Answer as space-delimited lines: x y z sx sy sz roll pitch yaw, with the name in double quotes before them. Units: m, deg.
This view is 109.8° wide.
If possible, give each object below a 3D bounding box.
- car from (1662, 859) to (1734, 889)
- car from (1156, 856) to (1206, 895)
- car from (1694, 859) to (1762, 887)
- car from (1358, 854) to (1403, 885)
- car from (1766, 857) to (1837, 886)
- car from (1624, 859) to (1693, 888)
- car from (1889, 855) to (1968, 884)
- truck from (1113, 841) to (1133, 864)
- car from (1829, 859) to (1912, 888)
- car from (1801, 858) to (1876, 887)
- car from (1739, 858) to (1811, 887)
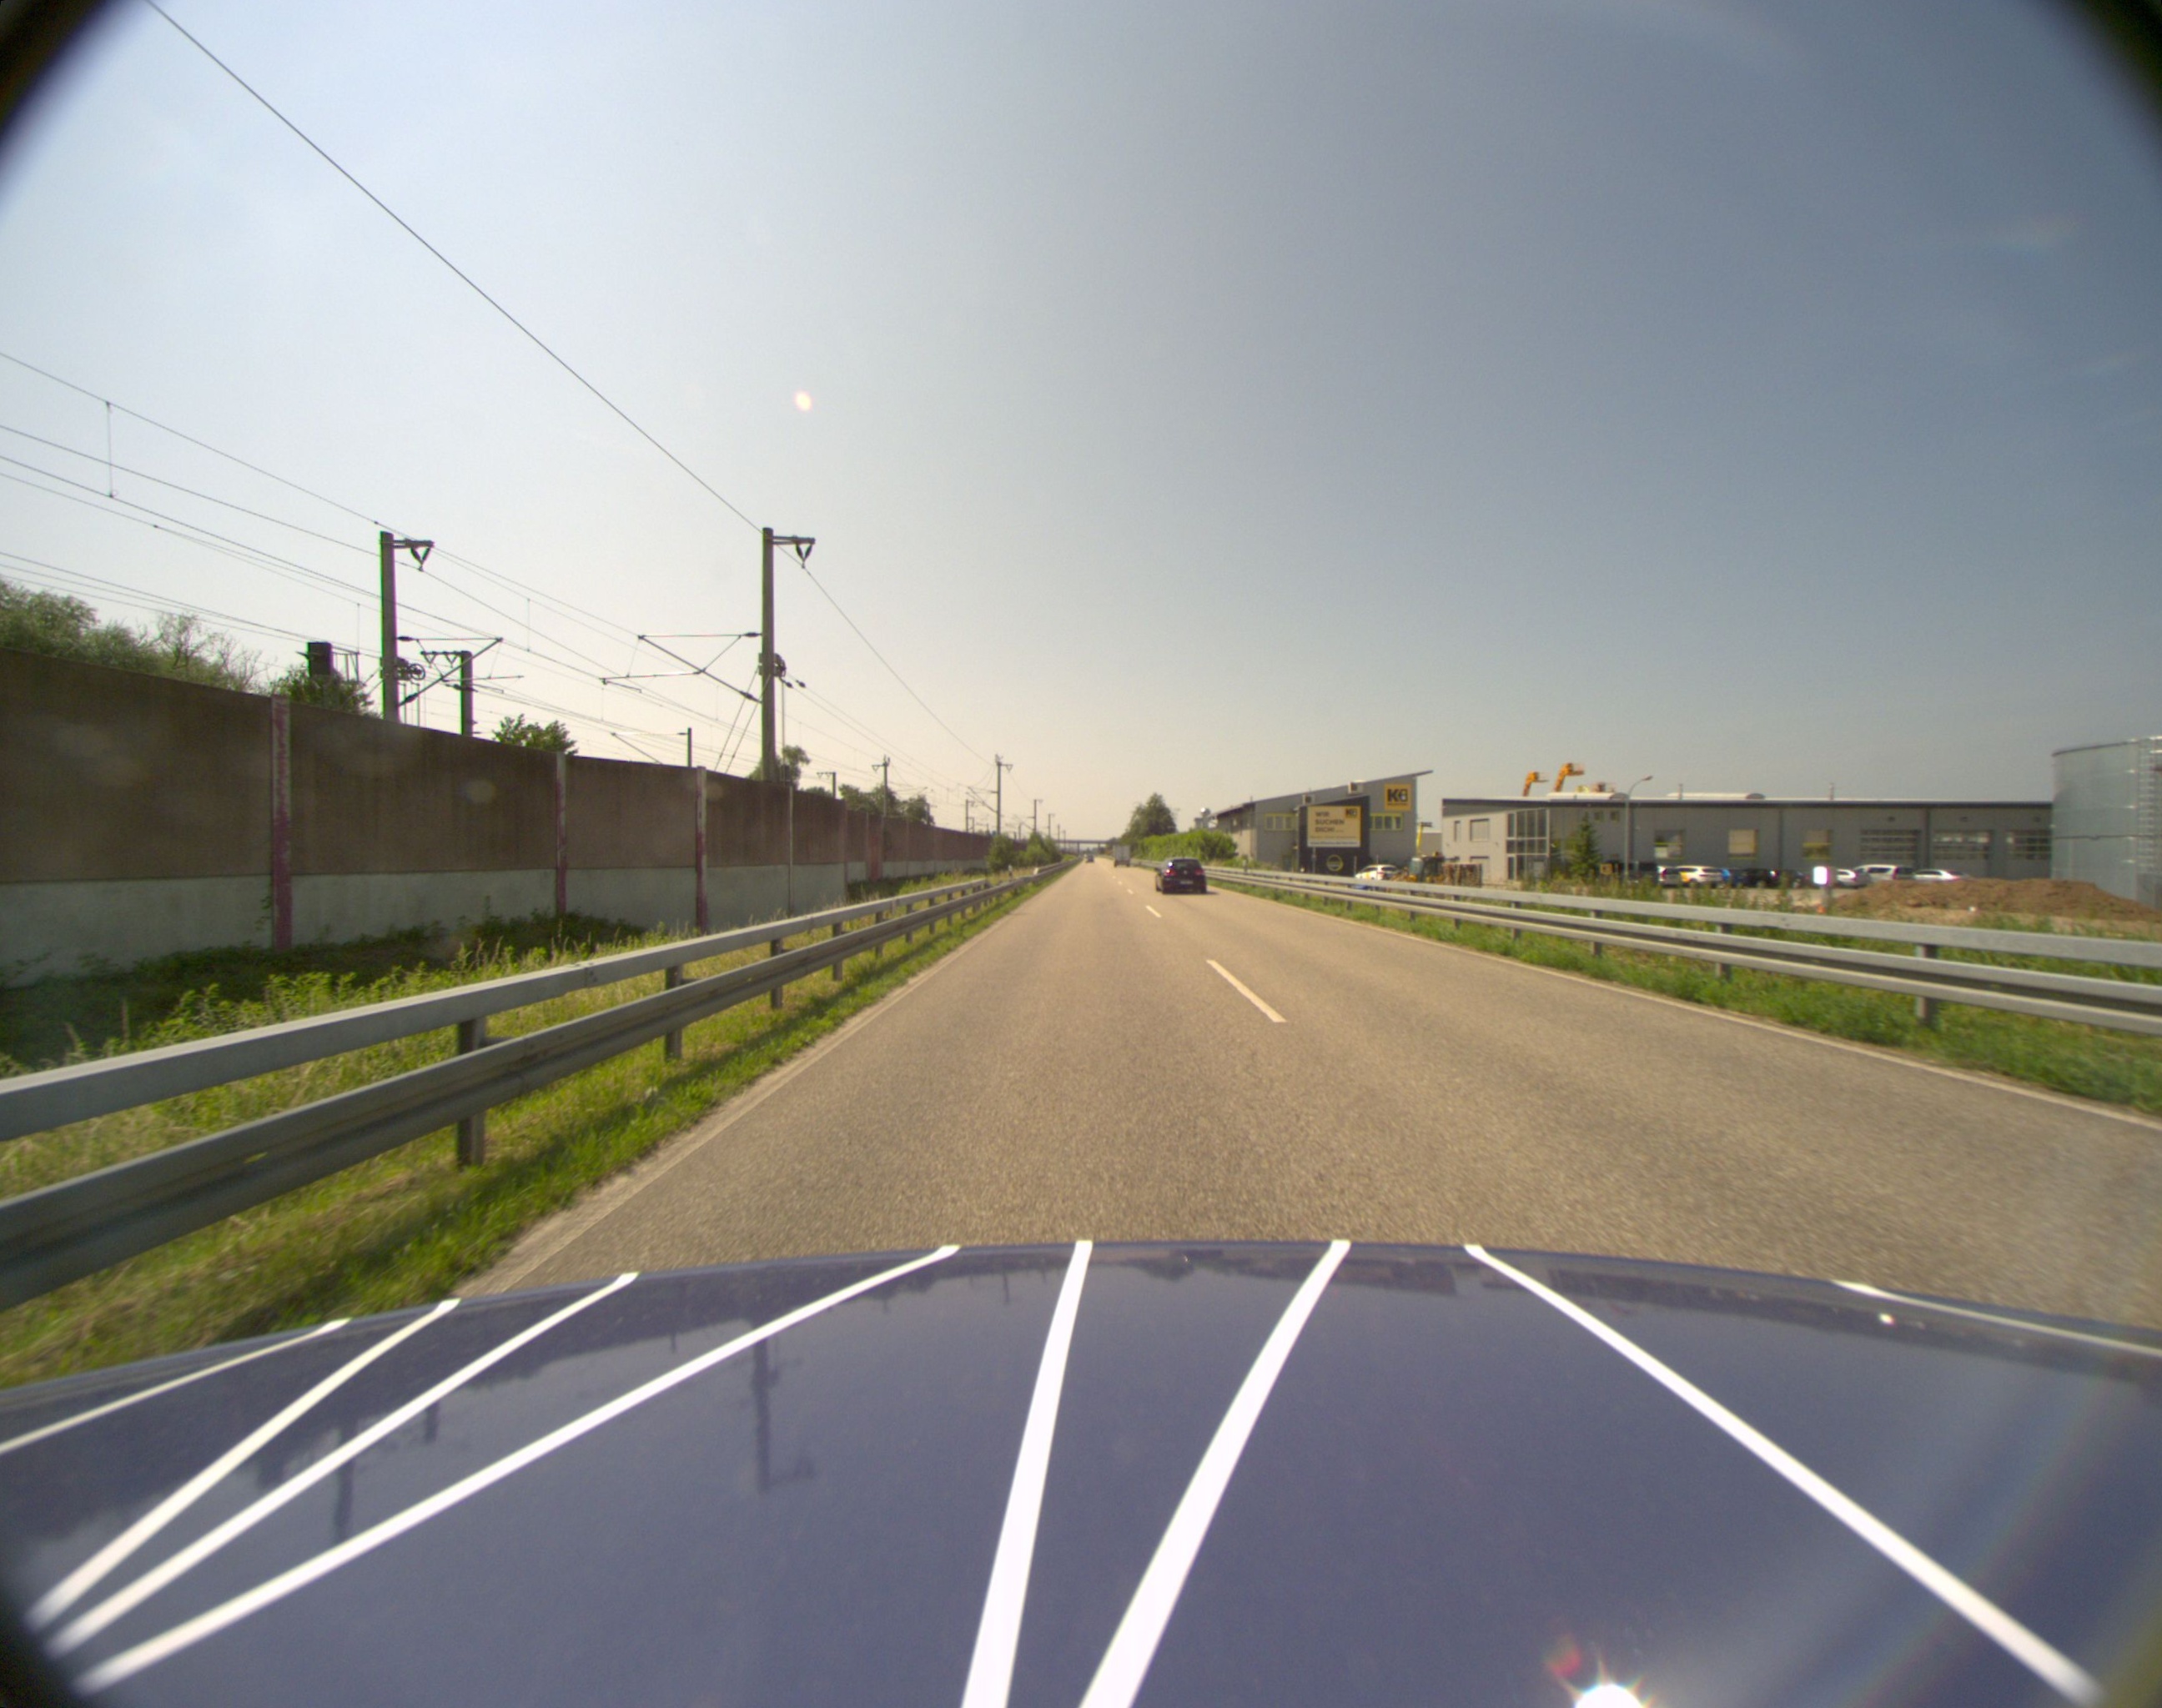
"car" 45.109 1.422 55.684 1.999 2.002 3.999 1 0 0
"car" 4.011 0.836 30.887 1.544 1.426 3.654 -2 0 0
"car" 47.361 1.384 55.688 1.834 1.889 3.689 2 0 1
"car" 20.833 1.033 53.013 1.476 2.002 3.483 2 0 -4
"car" 53.097 1.261 56.090 1.834 2.002 3.527 2 0 1
"car" 42.187 1.383 55.644 1.999 2.002 3.999 0 0 0
"car" 62.918 1.142 56.466 1.834 2.002 3.600 -3 0 1
"truck" 5.628 -0.199 102.266 2.241 2.950 6.317 -2 1 -1
"car" 58.430 1.404 56.316 1.999 2.002 3.999 -2 0 0
"car" 55.995 1.356 56.226 1.834 2.002 3.689 2 0 1
"car" 50.269 1.299 55.139 1.834 2.002 3.689 2 0 1
